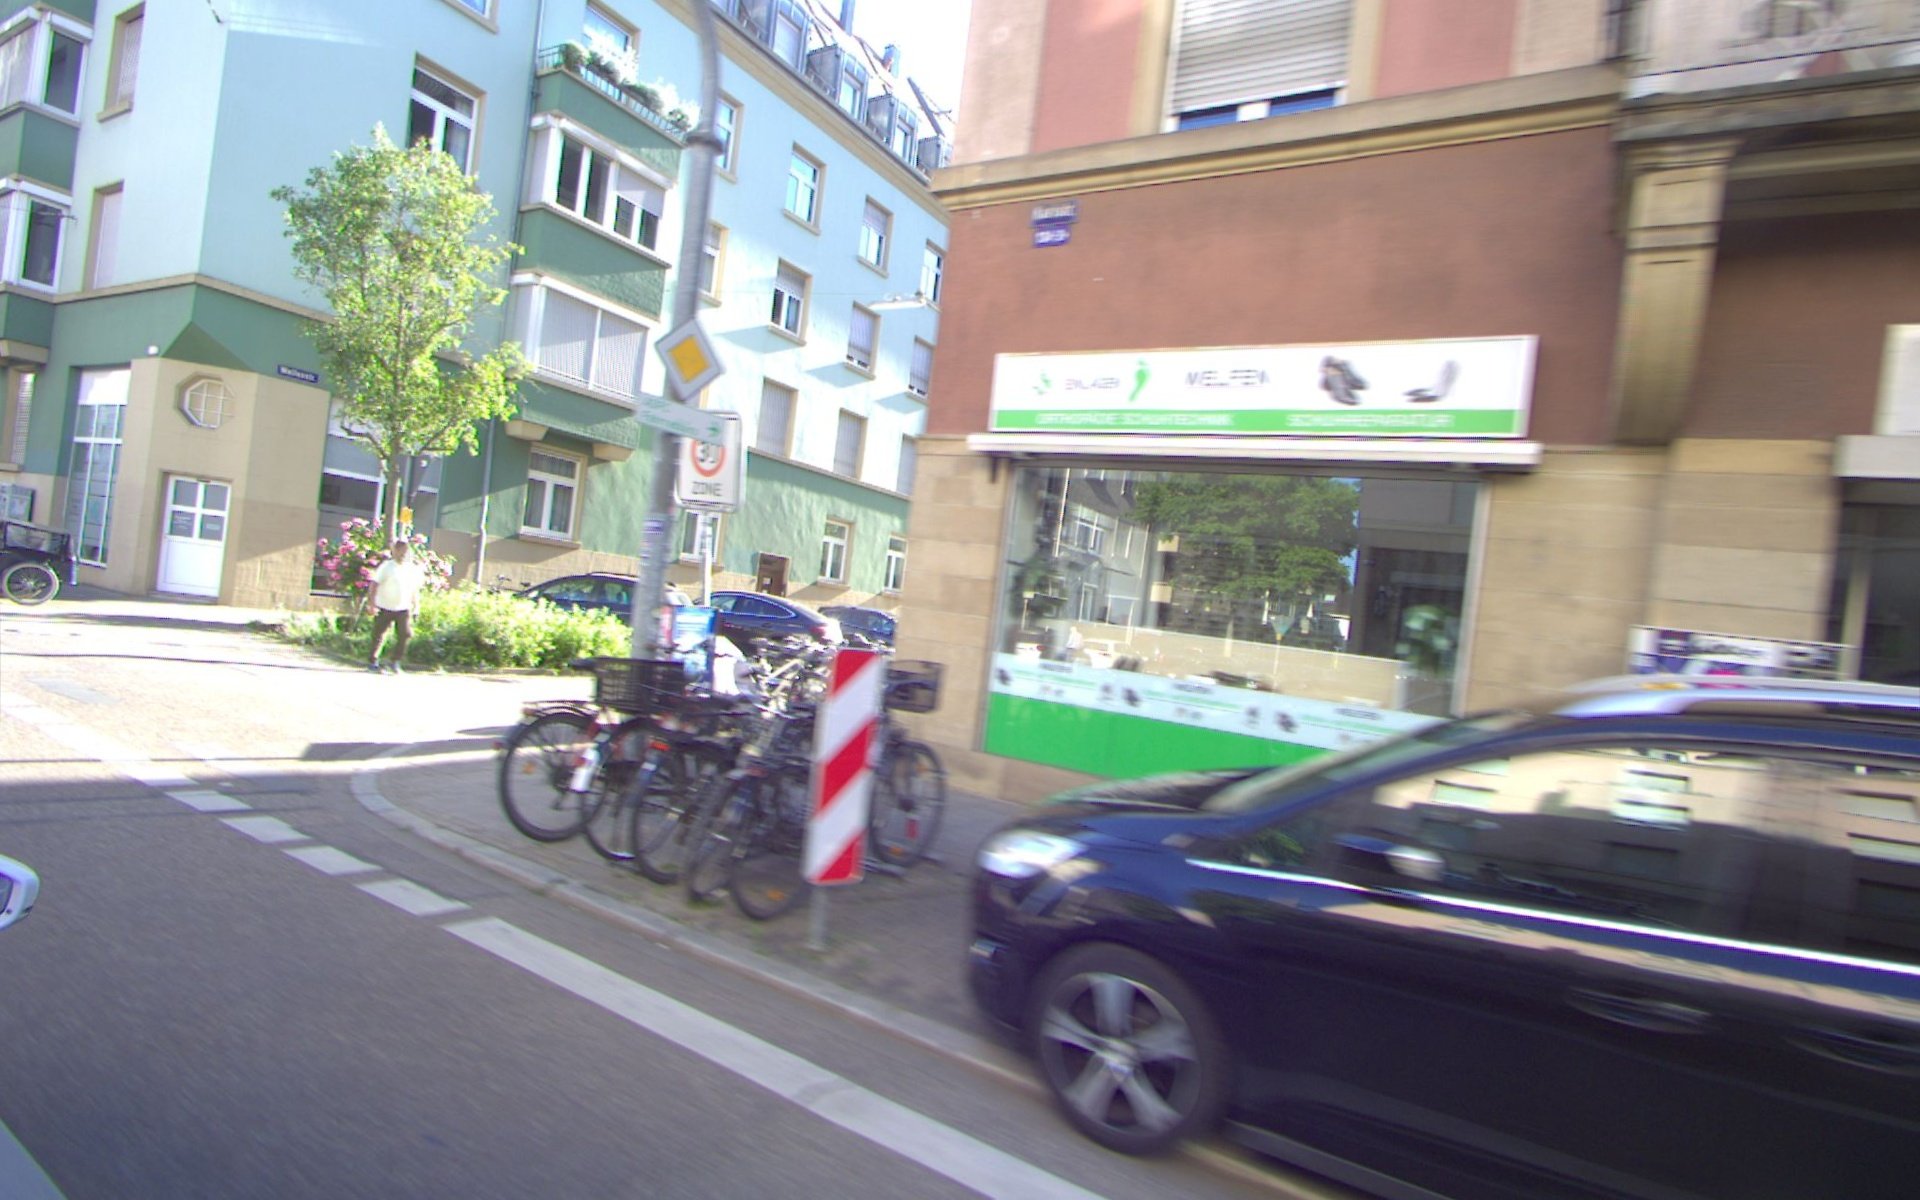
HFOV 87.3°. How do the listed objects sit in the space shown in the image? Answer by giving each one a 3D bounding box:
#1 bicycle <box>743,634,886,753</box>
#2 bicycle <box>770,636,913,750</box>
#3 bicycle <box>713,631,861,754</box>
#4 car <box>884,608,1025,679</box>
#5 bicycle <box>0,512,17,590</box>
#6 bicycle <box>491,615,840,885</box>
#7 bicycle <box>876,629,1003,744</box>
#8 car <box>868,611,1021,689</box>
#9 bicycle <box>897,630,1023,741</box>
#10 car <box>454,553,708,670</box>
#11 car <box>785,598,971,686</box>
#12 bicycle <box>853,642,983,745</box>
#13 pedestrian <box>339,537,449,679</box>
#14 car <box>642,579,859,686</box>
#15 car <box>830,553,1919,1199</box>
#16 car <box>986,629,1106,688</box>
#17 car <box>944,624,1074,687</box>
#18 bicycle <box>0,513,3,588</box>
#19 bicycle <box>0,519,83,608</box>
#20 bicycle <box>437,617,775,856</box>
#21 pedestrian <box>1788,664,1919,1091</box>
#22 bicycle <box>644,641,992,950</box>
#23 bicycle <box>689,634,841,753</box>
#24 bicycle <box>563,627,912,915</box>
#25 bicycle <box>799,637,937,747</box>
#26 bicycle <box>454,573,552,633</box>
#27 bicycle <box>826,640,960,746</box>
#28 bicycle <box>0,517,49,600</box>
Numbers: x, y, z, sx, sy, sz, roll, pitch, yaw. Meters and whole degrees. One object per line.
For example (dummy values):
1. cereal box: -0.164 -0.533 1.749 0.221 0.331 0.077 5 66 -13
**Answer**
1. bicycle: -1.786 1.108 12.207 1.699 1.168 0.468 7 0 32
2. bicycle: -1.507 1.148 12.661 1.699 1.168 0.544 7 0 32
3. bicycle: -2.048 1.057 11.786 1.699 1.168 0.468 7 0 32
4. car: -0.148 1.360 31.436 3.924 1.660 1.763 7 0 17
5. bicycle: -15.204 -0.783 14.891 0.461 1.170 1.722 7 3 32
6. bicycle: -1.565 0.781 5.748 0.518 1.242 1.961 7 0 32
7. bicycle: -0.307 1.232 14.586 1.699 1.399 0.491 7 0 32
8. car: -0.425 1.415 28.962 3.924 1.660 1.763 7 0 17
9. bicycle: -0.015 1.266 15.067 1.699 1.399 0.544 7 0 32
10. car: -7.050 0.226 18.943 4.000 1.598 1.642 7 0 4
11. car: -2.132 1.098 26.581 4.367 1.660 1.844 7 0 13
12. bicycle: -0.606 1.290 14.125 1.699 1.168 0.544 7 0 32
13. pedestrian: -7.068 0.119 12.592 0.690 1.651 0.733 6 -3 17
14. car: -4.364 0.669 21.195 3.924 1.660 1.763 7 0 12
15. car: 1.917 0.949 3.206 4.433 1.759 1.753 7 2 33
16. car: 3.150 2.101 36.603 3.924 1.560 1.763 7 0 17
17. car: 1.673 1.850 34.056 3.924 1.560 1.763 7 0 17
18. bicycle: -15.668 -0.811 15.165 0.461 1.170 1.722 7 3 32
19. bicycle: -13.614 -0.551 13.889 0.834 1.170 2.087 7 2 32
20. bicycle: -2.029 0.762 6.084 0.518 1.175 1.925 7 0 32
21. pedestrian: 4.045 1.163 4.378 0.440 1.707 0.514 7 0 31
22. bicycle: -0.615 0.888 5.176 0.518 1.242 1.961 7 0 32
23. bicycle: -2.211 1.022 11.290 1.699 1.062 0.468 7 0 32
24. bicycle: -1.092 0.834 5.470 0.518 1.242 1.961 7 0 32
25. bicycle: -1.221 1.183 13.156 1.699 1.168 0.544 7 0 32
26. bicycle: -9.640 0.085 21.300 0.448 1.076 1.899 7 -1 29
27. bicycle: -0.926 1.243 13.640 1.699 1.168 0.544 7 0 32
28. bicycle: -14.193 -0.629 14.230 0.461 1.170 1.842 7 3 32
